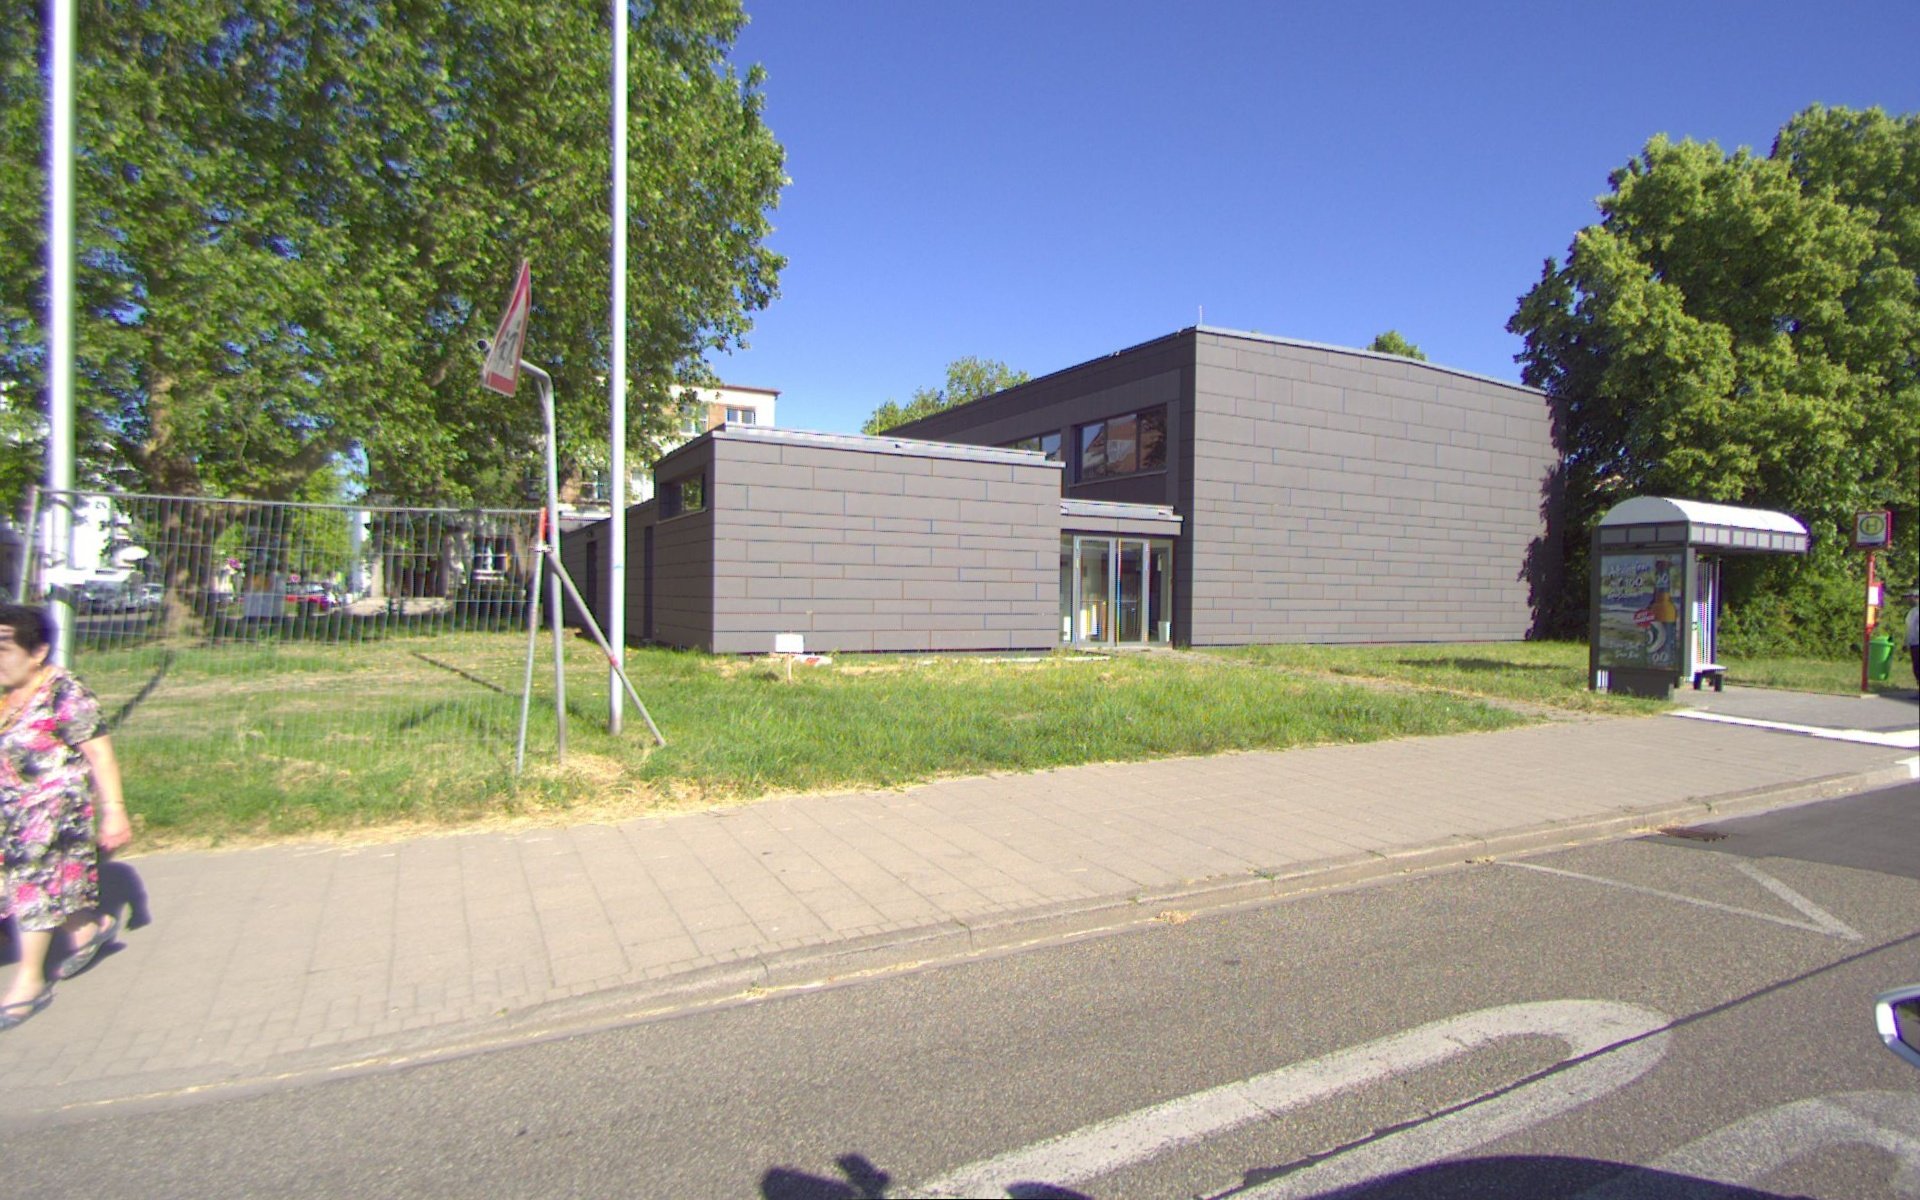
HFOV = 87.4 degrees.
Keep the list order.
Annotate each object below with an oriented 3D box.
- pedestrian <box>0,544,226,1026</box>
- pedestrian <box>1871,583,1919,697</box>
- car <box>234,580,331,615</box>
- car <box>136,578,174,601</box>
[{"bbox_3d":[-3.374,0.613,3.751,0.620,1.608,0.835,5,5,26],"label":"pedestrian"},{"bbox_3d":[15.867,0.656,16.650,0.756,1.827,0.717,1,3,-4],"label":"pedestrian"},{"bbox_3d":[-40.461,-0.154,60.119,4.622,2.041,1.985,0,1,-28],"label":"car"},{"bbox_3d":[-62.081,-0.813,77.527,1.980,1.694,3.960,0,1,-35],"label":"car"}]
